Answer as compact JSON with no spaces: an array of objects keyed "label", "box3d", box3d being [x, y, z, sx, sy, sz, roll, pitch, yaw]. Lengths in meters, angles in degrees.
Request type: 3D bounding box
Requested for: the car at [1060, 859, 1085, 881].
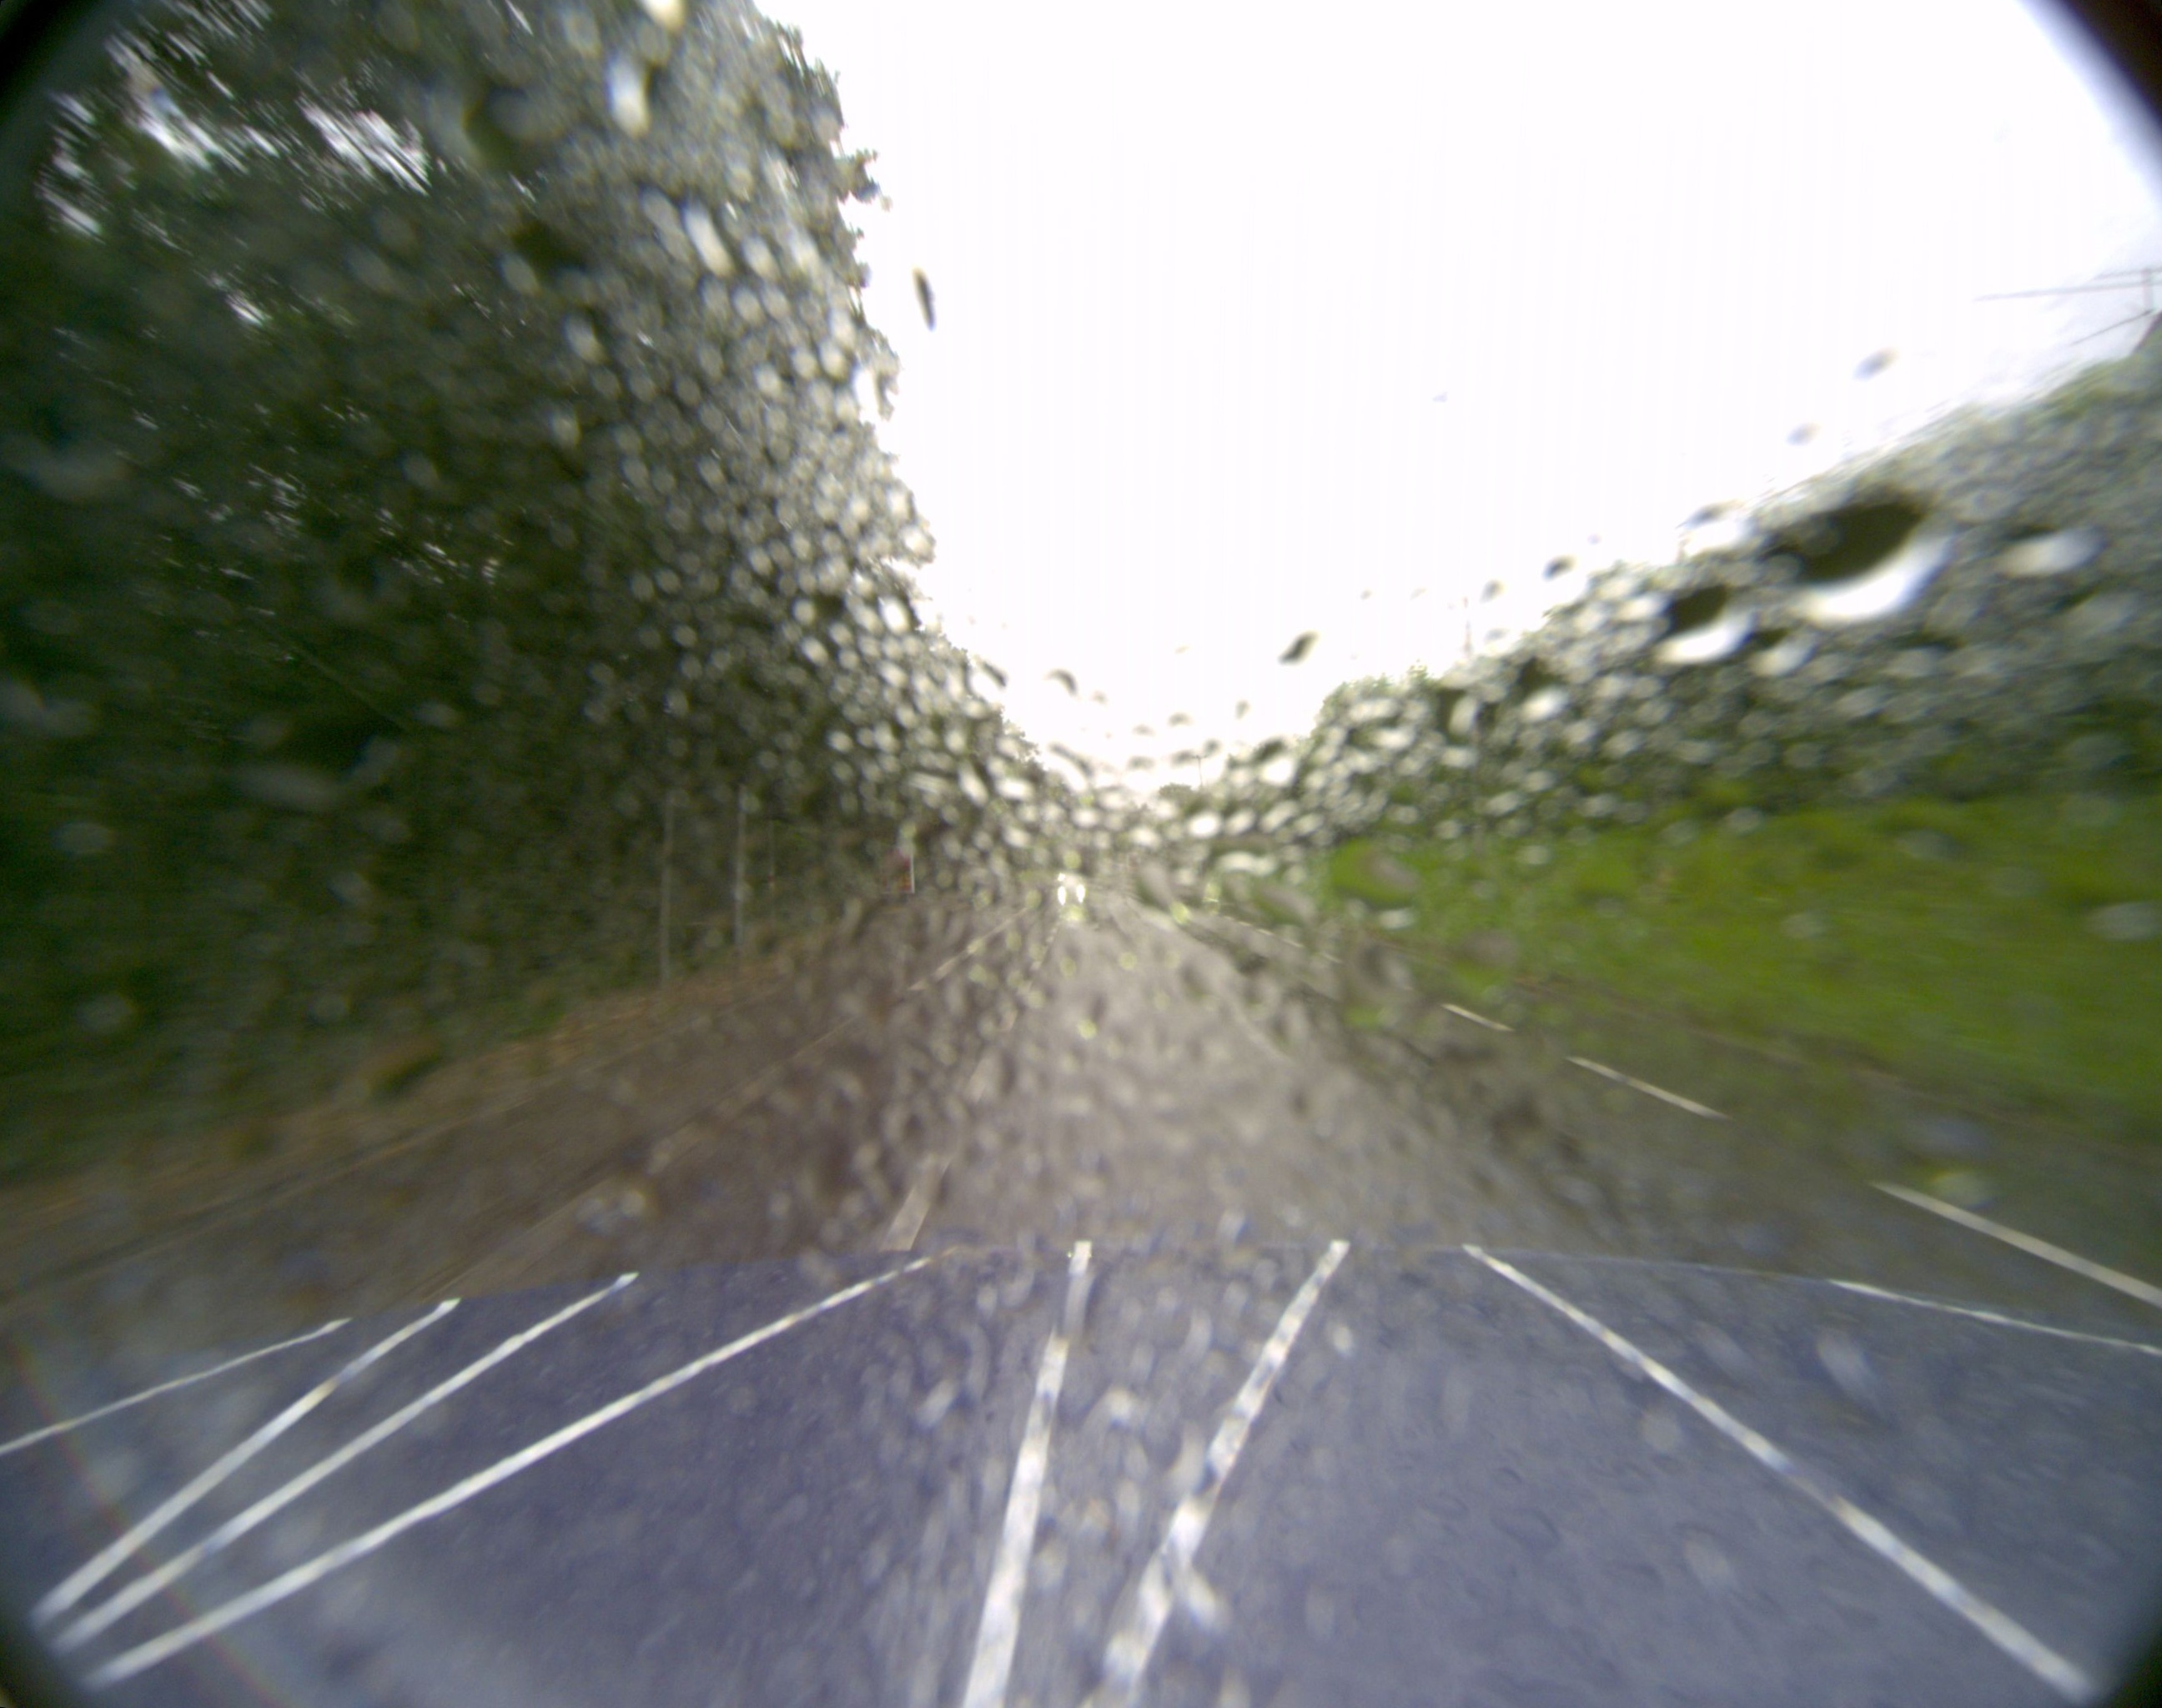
[{"label":"car","box3d":[-0.649,1.205,59.322,1.799,1.543,4.000,-3,0,-1]}]
